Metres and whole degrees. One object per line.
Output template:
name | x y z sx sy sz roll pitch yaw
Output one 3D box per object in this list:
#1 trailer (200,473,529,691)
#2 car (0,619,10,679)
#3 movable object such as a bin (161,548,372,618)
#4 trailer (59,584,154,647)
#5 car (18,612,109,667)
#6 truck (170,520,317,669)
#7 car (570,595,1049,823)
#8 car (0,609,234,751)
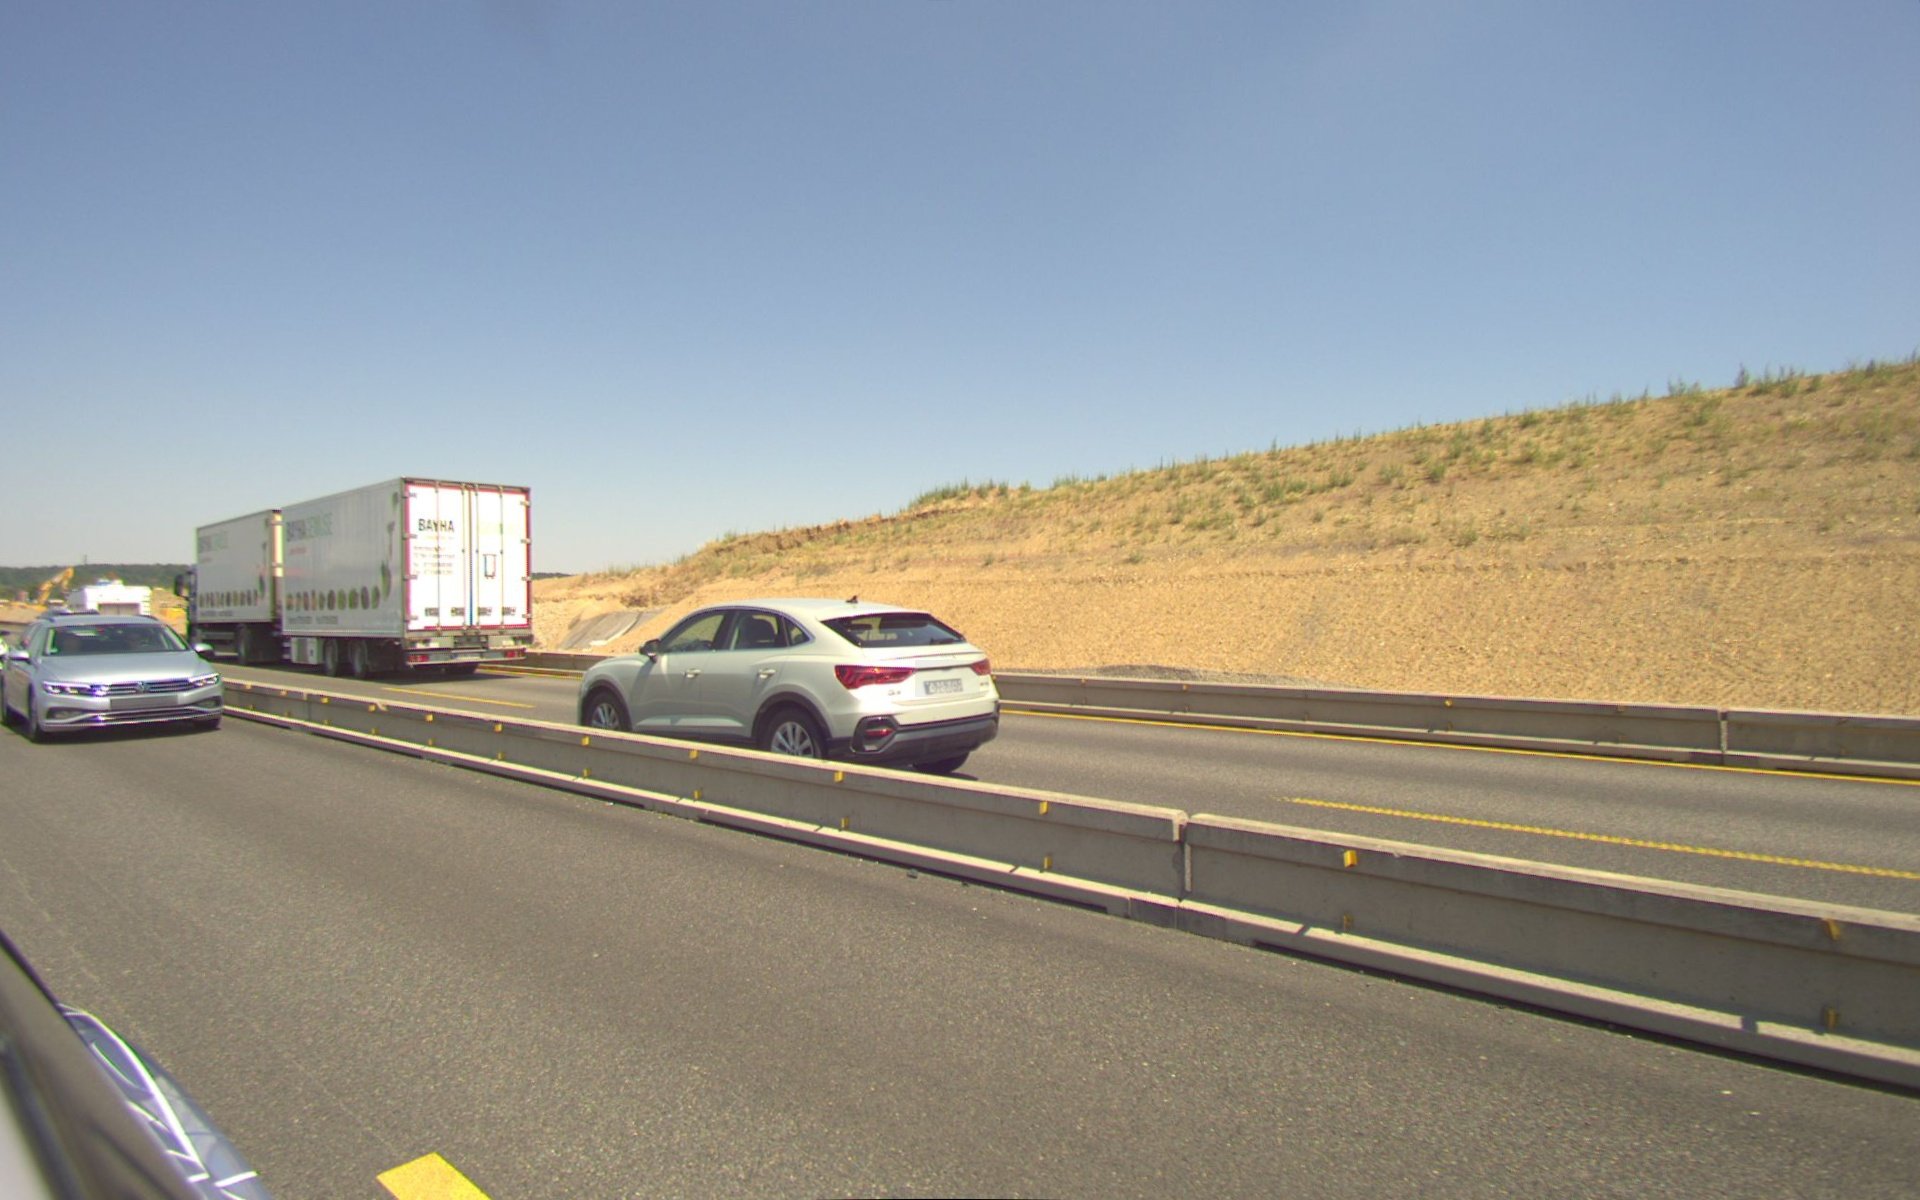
trailer | -15.721 -0.226 25.579 15.528 4.211 2.476 -1 -2 42
car | -24.669 1.182 24.682 4.029 1.408 1.851 0 1 42
movable object such as a bin | -72.325 -1.788 106.482 3.386 6.823 18.034 0 1 40
trailer | -39.196 0.734 46.395 6.752 2.707 2.287 -1 -2 41
car | -29.904 1.257 33.723 4.591 1.625 1.671 0 1 41
truck | -22.431 -0.090 31.568 5.910 4.230 2.465 -1 -2 42
car | -1.471 0.727 8.795 4.240 1.499 1.789 0 1 40
car | -11.038 0.917 13.069 4.098 1.519 1.781 -1 0 41
